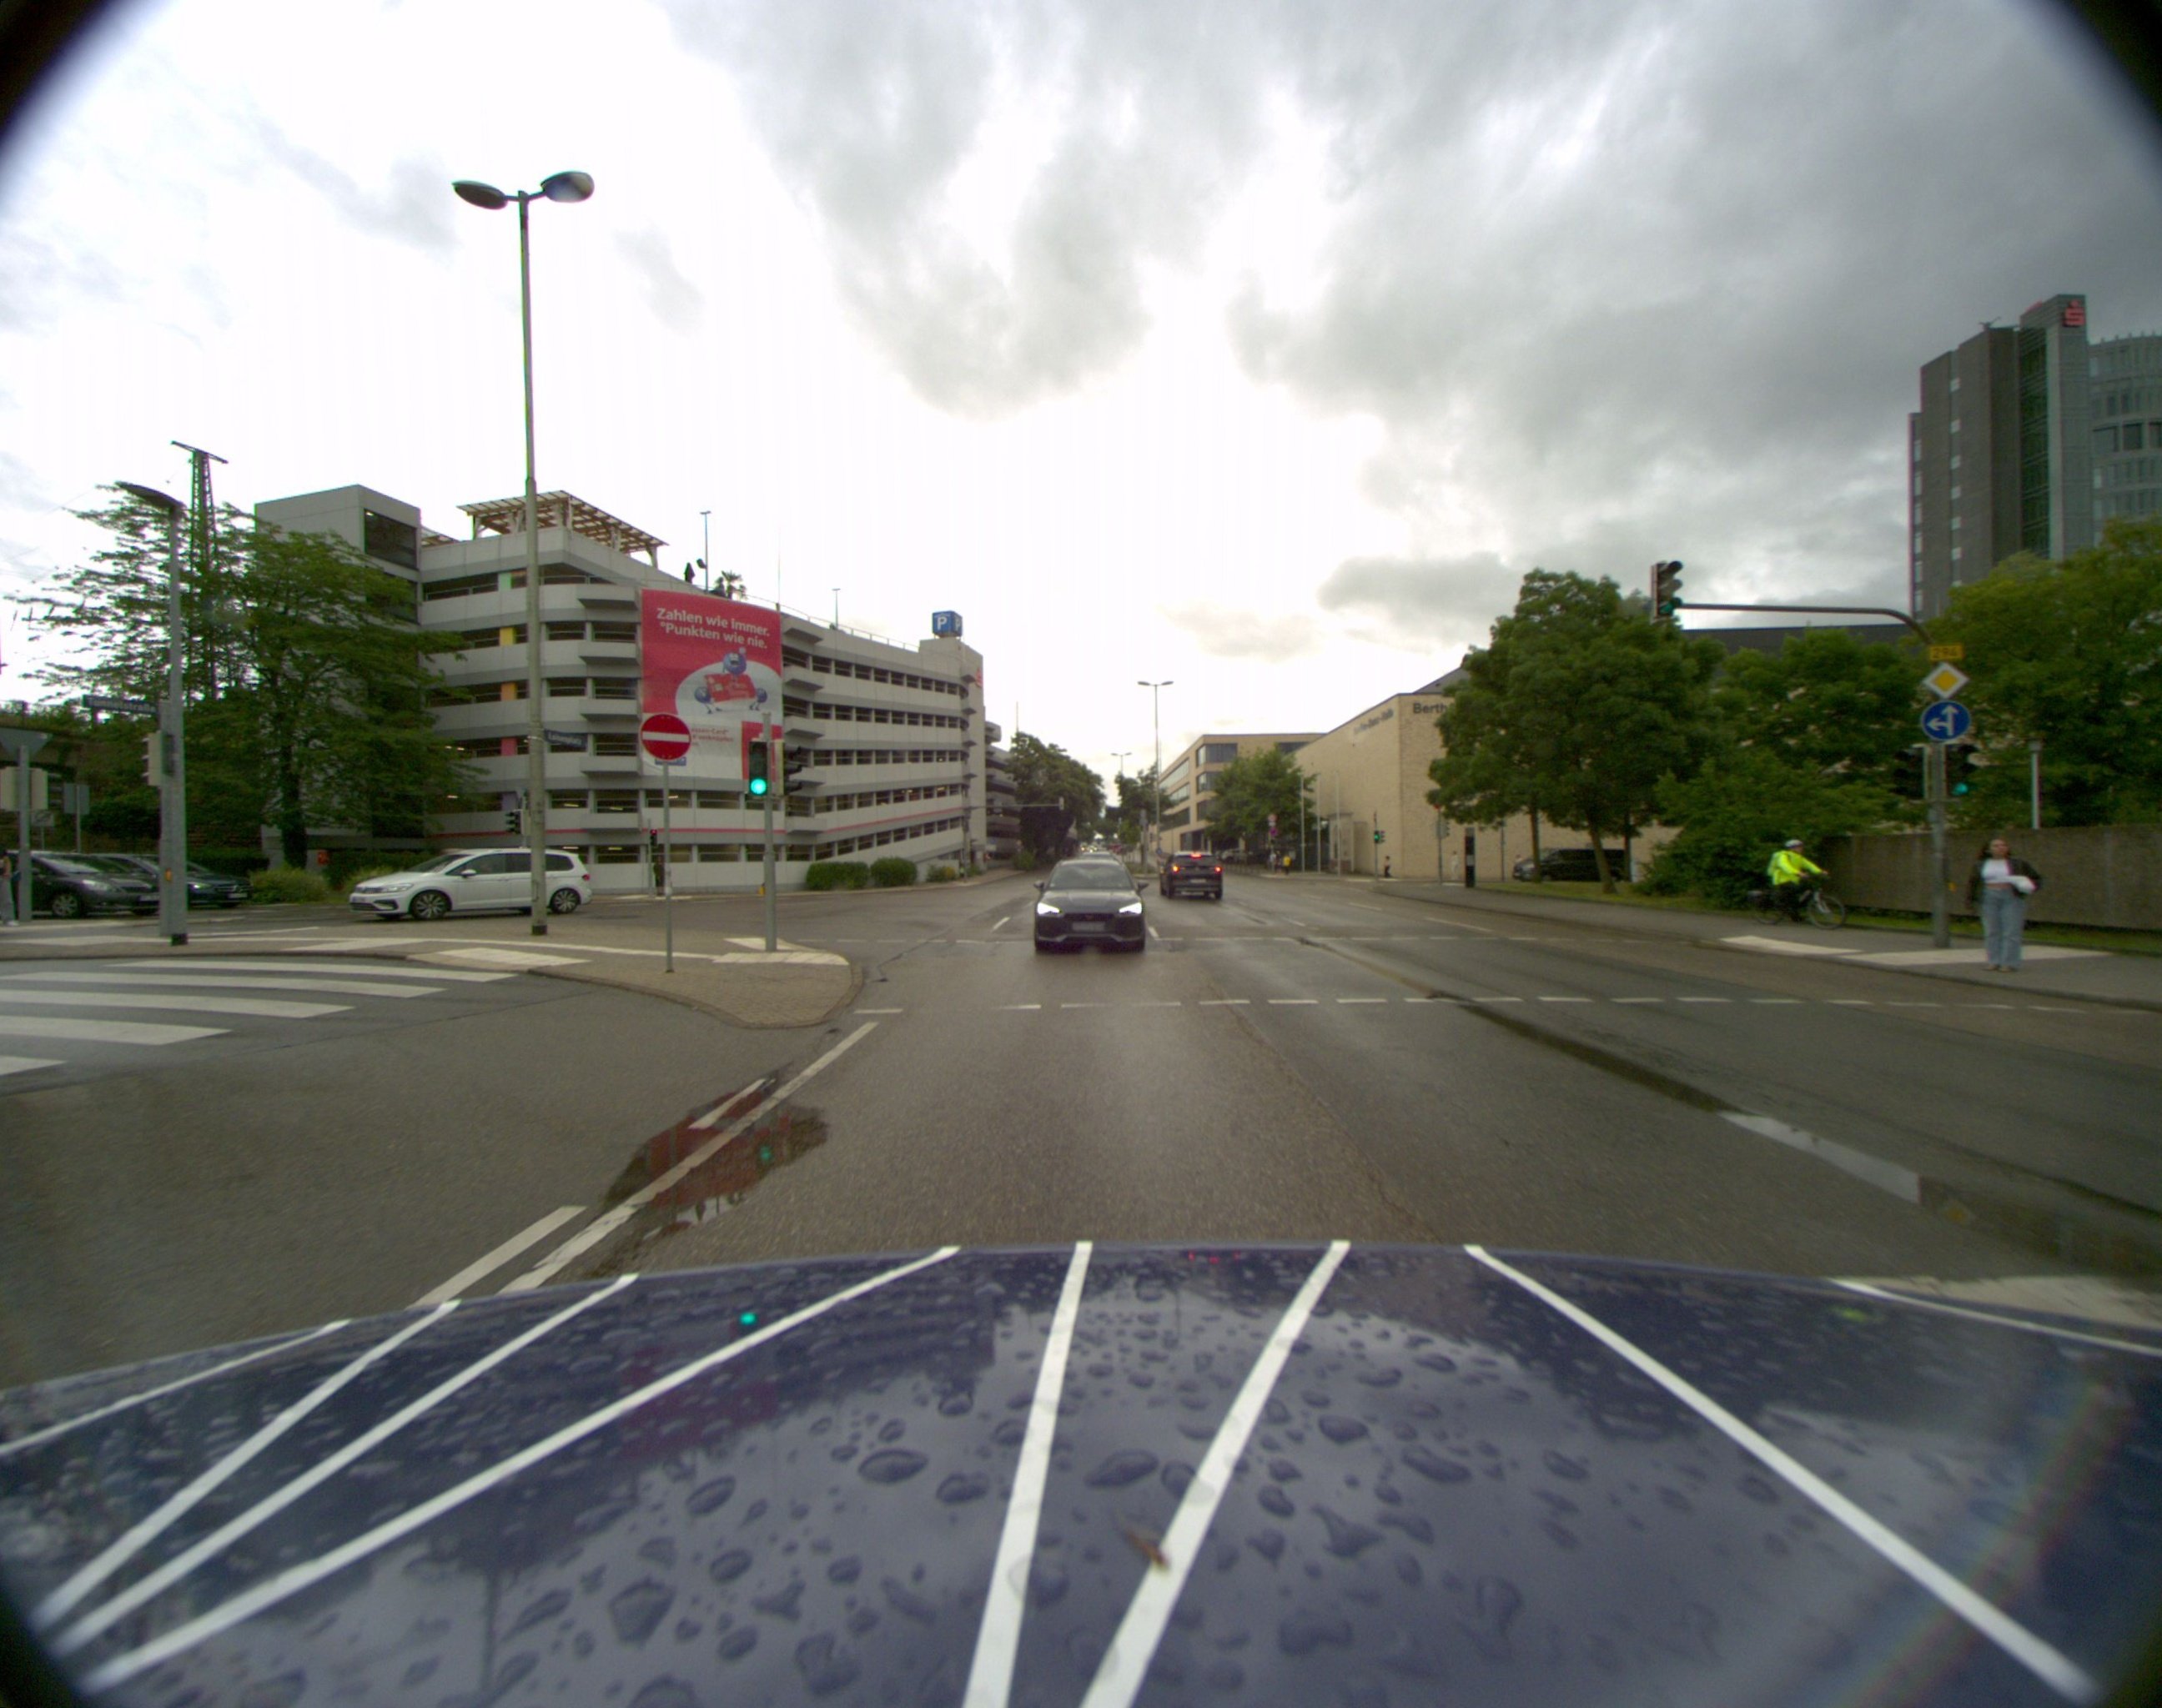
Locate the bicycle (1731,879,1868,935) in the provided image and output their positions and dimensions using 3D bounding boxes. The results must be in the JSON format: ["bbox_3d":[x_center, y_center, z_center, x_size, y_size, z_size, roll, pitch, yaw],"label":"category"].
[{"bbox_3d":[13.565,0.972,14.442,0.887,0.902,1.867,-2,1,3],"label":"bicycle"}]

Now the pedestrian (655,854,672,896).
[{"bbox_3d":[-19.292,0.963,35.079,0.546,1.879,0.506,2,0,-39],"label":"pedestrian"}]

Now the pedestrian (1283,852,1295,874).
[{"bbox_3d":[14.883,0.648,54.444,0.595,1.508,0.692,-2,1,0],"label":"pedestrian"}]

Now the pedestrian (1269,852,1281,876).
[{"bbox_3d":[14.247,0.695,55.695,0.595,1.721,0.692,-2,1,-4],"label":"pedestrian"}]

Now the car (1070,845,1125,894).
[{"bbox_3d":[0.670,0.534,28.554,1.845,1.647,4.000,-2,1,3],"label":"car"}]

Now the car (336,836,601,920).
[{"bbox_3d":[-14.212,0.613,17.944,1.995,1.715,4.410,-2,-3,29],"label":"car"}]

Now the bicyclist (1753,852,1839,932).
[{"bbox_3d":[13.535,0.698,14.410,0.844,1.434,0.812,-2,1,3],"label":"bicyclist"}]

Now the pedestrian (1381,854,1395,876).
[{"bbox_3d":[19.057,0.682,47.183,0.622,1.368,0.475,-2,1,2],"label":"pedestrian"}]

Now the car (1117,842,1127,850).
[{"bbox_3d":[7.623,-1.504,141.773,1.675,1.461,4.300,1,0,-1],"label":"car"}]

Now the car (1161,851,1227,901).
[{"bbox_3d":[3.886,0.702,26.811,1.812,1.585,4.295,-1,0,2],"label":"car"}]

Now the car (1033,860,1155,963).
[{"bbox_3d":[0.122,0.857,13.467,1.739,1.380,4.581,-2,1,-2],"label":"car"}]

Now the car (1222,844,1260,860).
[{"bbox_3d":[18.152,-0.231,86.324,3.995,1.576,2.000,-2,1,5],"label":"car"}]

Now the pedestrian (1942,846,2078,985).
[{"bbox_3d":[11.763,0.748,9.650,0.719,1.680,0.811,-2,1,3],"label":"pedestrian"}]

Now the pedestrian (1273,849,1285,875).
[{"bbox_3d":[13.801,0.534,52.918,0.595,1.761,0.692,-2,1,0],"label":"pedestrian"}]

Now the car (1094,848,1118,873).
[{"bbox_3d":[2.019,0.512,60.434,1.804,1.818,3.950,-3,0,2],"label":"car"}]

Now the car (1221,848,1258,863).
[{"bbox_3d":[18.428,0.167,88.510,3.995,1.576,2.000,-2,1,5],"label":"car"}]

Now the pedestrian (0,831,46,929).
[{"bbox_3d":[-20.181,0.492,14.064,0.858,1.781,0.774,-2,1,-3],"label":"pedestrian"}]

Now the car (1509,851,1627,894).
[{"bbox_3d":[25.134,0.924,39.320,4.790,1.914,1.999,3,0,-2],"label":"car"}]

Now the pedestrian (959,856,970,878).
[{"bbox_3d":[-8.692,0.966,56.730,0.584,1.650,0.519,2,2,18],"label":"pedestrian"}]

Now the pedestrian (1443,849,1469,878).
[{"bbox_3d":[22.698,0.552,46.004,1.113,1.690,0.807,-2,1,-1],"label":"pedestrian"}]

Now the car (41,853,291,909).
[{"bbox_3d":[-25.666,0.740,21.456,4.482,1.436,1.999,1,0,-2],"label":"car"}]

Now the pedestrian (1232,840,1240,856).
[{"bbox_3d":[17.167,-0.666,84.059,0.803,1.638,0.976,-2,1,7],"label":"pedestrian"}]

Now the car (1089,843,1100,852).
[{"bbox_3d":[2.548,-1.257,144.914,1.998,1.716,4.400,0,-1,1],"label":"car"}]

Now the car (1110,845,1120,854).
[{"bbox_3d":[7.305,-0.963,162.183,1.855,1.841,4.300,2,0,-1],"label":"car"}]

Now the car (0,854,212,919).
[{"bbox_3d":[-24.600,0.755,18.374,4.484,1.436,1.998,1,0,-8],"label":"car"}]
